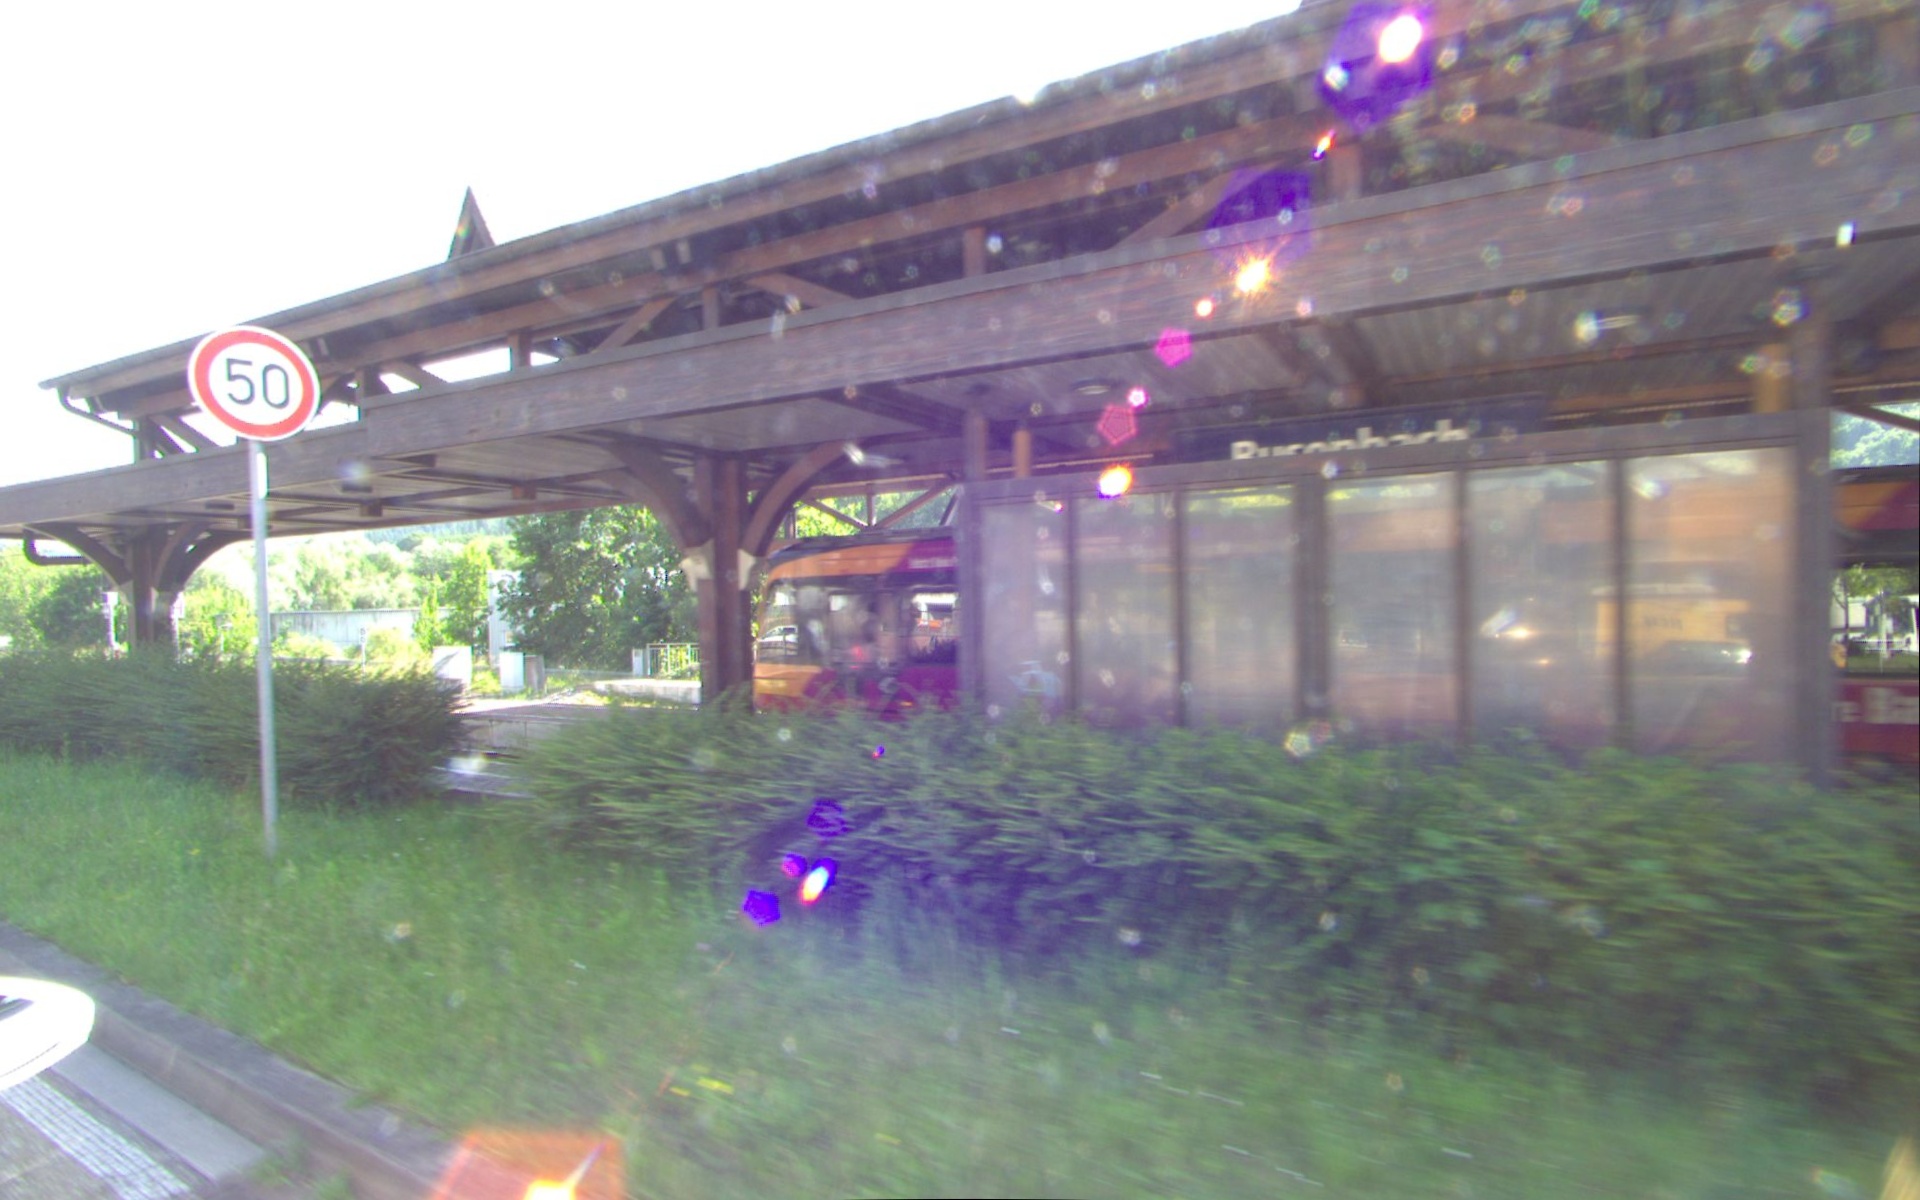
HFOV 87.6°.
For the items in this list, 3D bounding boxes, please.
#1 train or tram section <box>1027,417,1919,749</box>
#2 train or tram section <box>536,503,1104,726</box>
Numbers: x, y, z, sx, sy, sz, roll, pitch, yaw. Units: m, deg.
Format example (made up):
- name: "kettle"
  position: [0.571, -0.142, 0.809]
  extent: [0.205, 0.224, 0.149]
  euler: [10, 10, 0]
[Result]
- name: "train or tram section"
  position: [6.840, -0.050, 13.594]
  extent: [11.868, 3.406, 2.784]
  euler: [-1, -2, 30]
- name: "train or tram section"
  position: [-3.261, 0.281, 19.535]
  extent: [11.870, 3.407, 2.753]
  euler: [0, -2, 31]
